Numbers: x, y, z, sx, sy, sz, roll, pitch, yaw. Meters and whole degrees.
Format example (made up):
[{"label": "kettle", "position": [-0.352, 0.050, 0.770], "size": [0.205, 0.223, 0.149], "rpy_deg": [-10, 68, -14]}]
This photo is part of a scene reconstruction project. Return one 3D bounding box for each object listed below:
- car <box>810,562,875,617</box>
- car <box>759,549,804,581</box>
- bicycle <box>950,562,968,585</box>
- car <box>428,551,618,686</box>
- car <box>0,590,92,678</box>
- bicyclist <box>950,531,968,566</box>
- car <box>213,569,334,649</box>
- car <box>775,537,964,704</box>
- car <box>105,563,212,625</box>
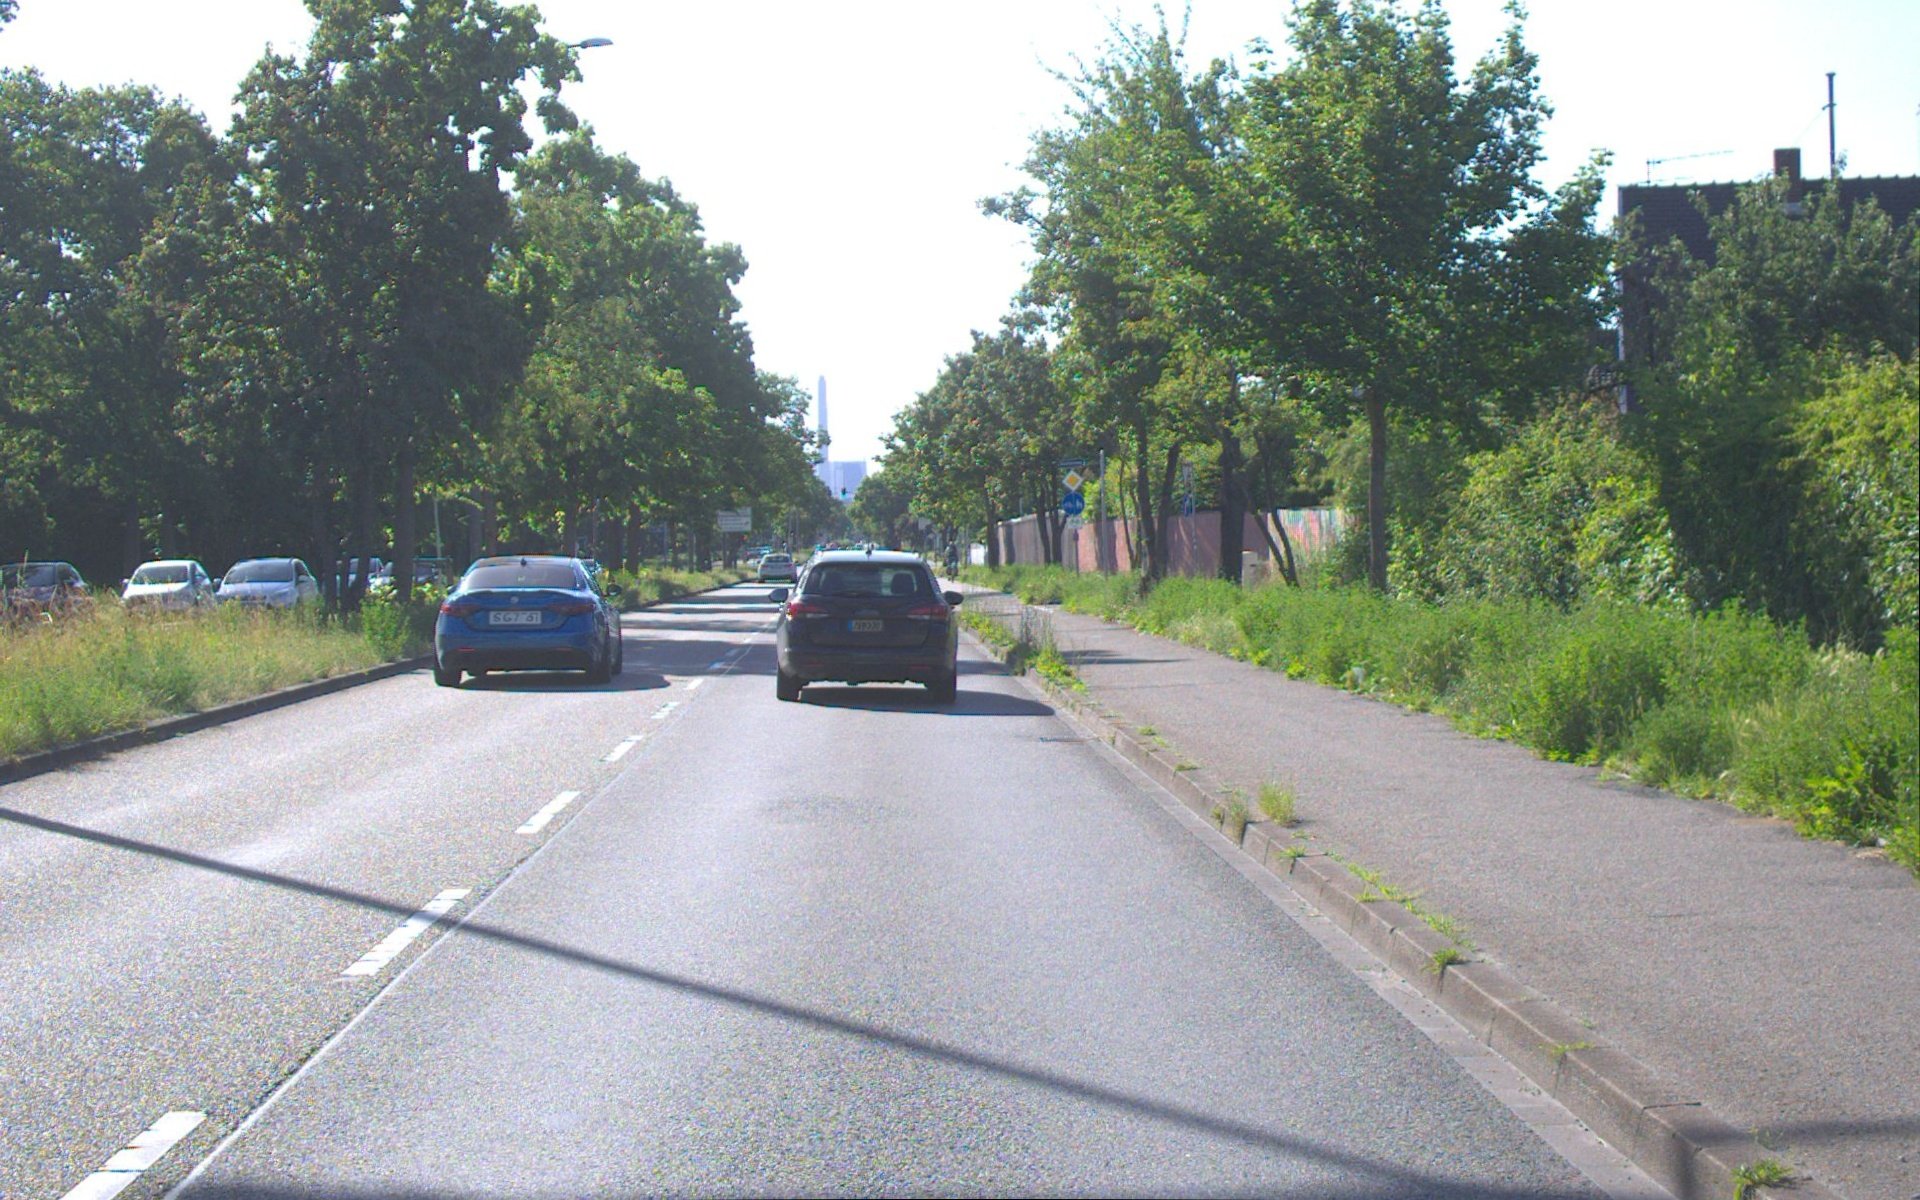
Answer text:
[{"label": "car", "position": [-3.712, -0.341, 108.092], "size": [1.743, 1.592, 4.176], "rpy_deg": [-1, 2, -6]}, {"label": "car", "position": [-8.697, -1.728, 167.312], "size": [1.978, 1.435, 4.001], "rpy_deg": [-1, 2, -5]}, {"label": "bicycle", "position": [-0.038, -1.078, 139.083], "size": [0.655, 0.889, 1.875], "rpy_deg": [-1, 1, -2]}, {"label": "car", "position": [-4.868, 0.164, 38.722], "size": [1.994, 1.400, 4.001], "rpy_deg": [-1, 1, -6]}, {"label": "car", "position": [-18.358, 0.656, 67.734], "size": [1.604, 1.557, 4.001], "rpy_deg": [-3, 1, -3]}, {"label": "bicyclist", "position": [-0.037, -2.084, 139.166], "size": [0.680, 1.414, 0.812], "rpy_deg": [0, 1, -2]}, {"label": "car", "position": [-14.532, 0.169, 72.973], "size": [1.713, 1.597, 4.359], "rpy_deg": [-1, 1, 0]}, {"label": "car", "position": [-0.883, 0.172, 34.574], "size": [1.760, 1.554, 4.000], "rpy_deg": [1, 1, -1]}, {"label": "car", "position": [-19.263, -0.171, 82.773], "size": [1.838, 1.408, 4.001], "rpy_deg": [0, 1, -3]}]
